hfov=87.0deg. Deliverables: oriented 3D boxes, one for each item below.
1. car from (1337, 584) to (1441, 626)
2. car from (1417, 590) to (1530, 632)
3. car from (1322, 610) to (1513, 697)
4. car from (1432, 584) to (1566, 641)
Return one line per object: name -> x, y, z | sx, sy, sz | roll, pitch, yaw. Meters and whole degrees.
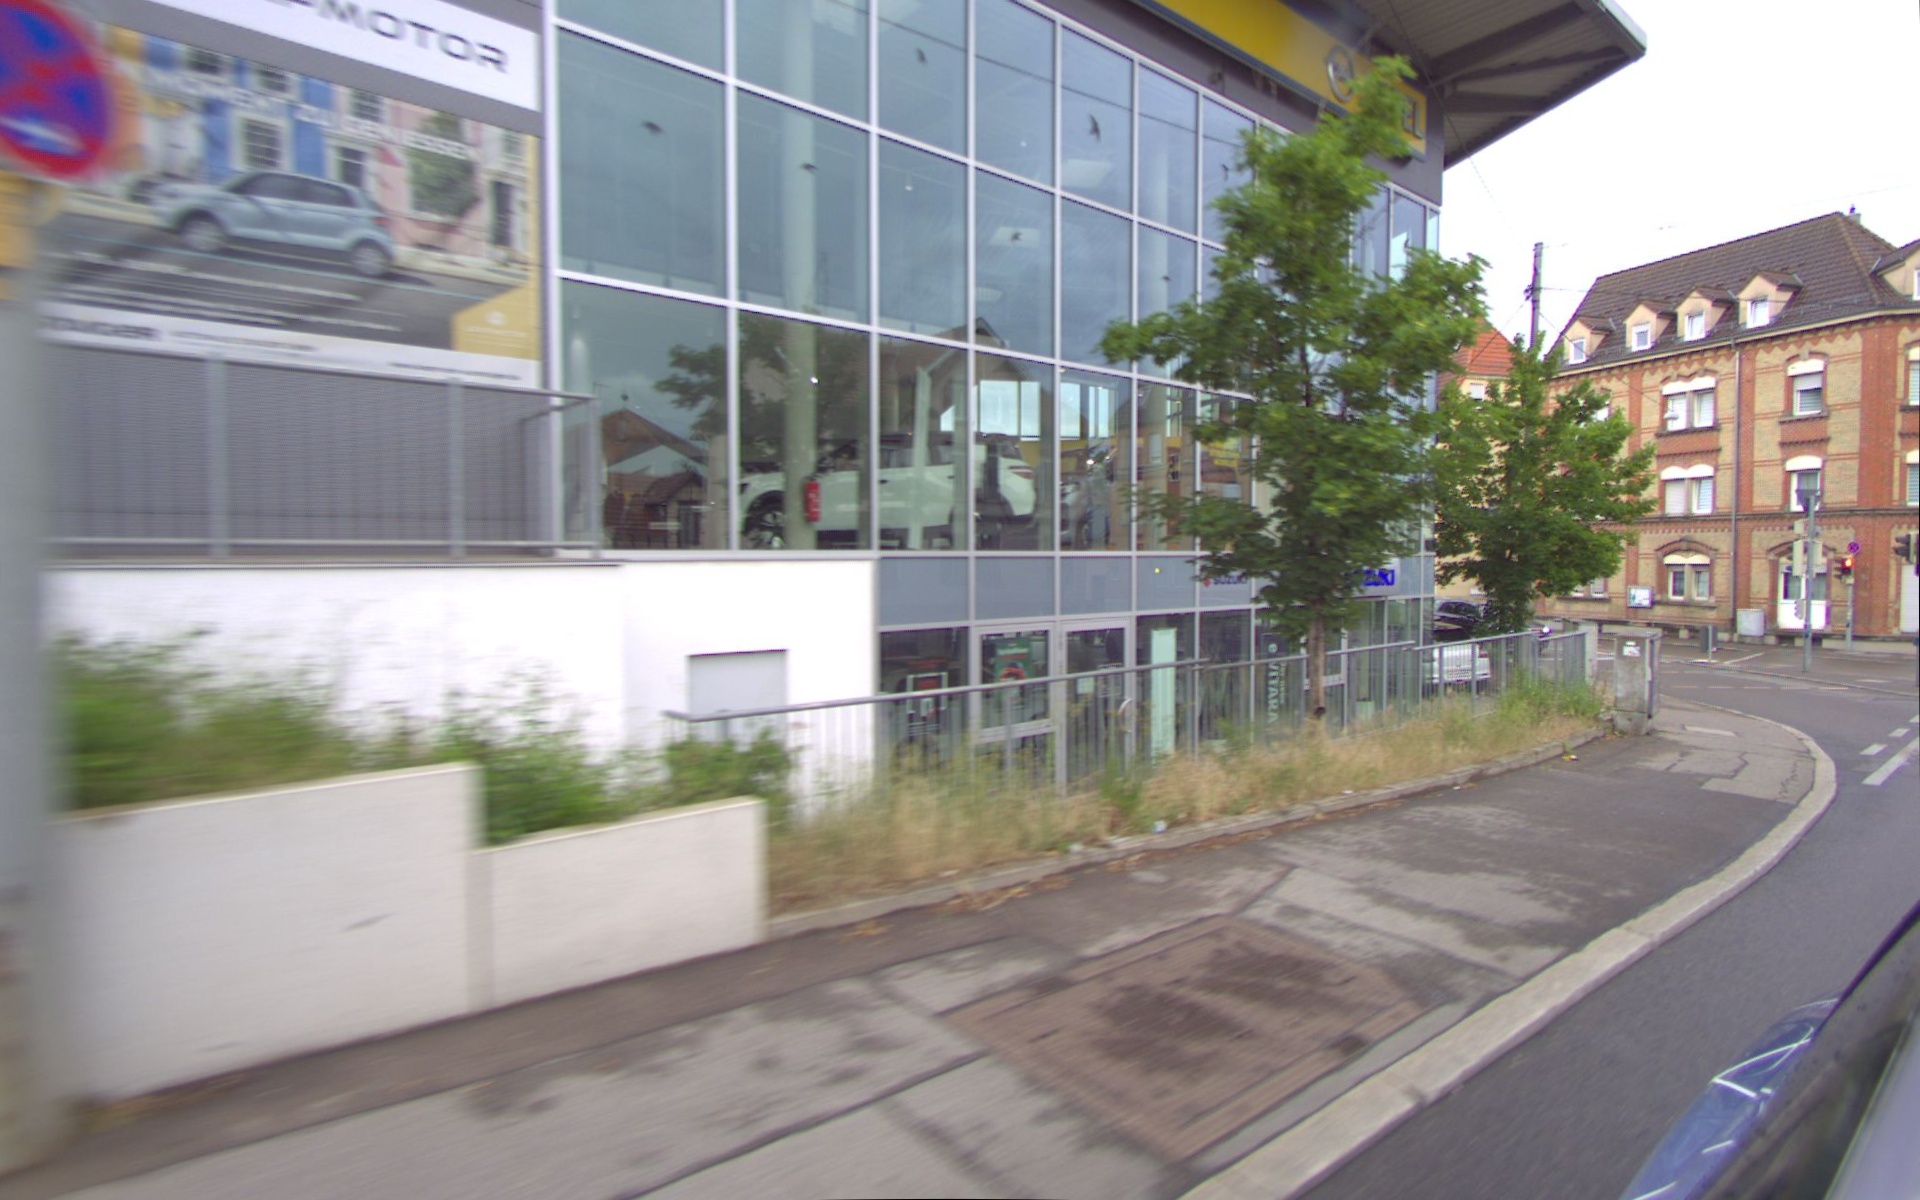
car -> 17.084, 0.144, 40.523 | 1.767, 1.523, 4.263 | 0, 2, -10
car -> 21.027, 0.413, 41.605 | 1.805, 1.472, 4.010 | 2, 2, -18
car -> 10.222, 1.124, 22.974 | 1.859, 1.526, 4.009 | -3, 2, -12
car -> 17.513, 0.352, 33.111 | 1.768, 1.683, 4.261 | 0, 2, -5
